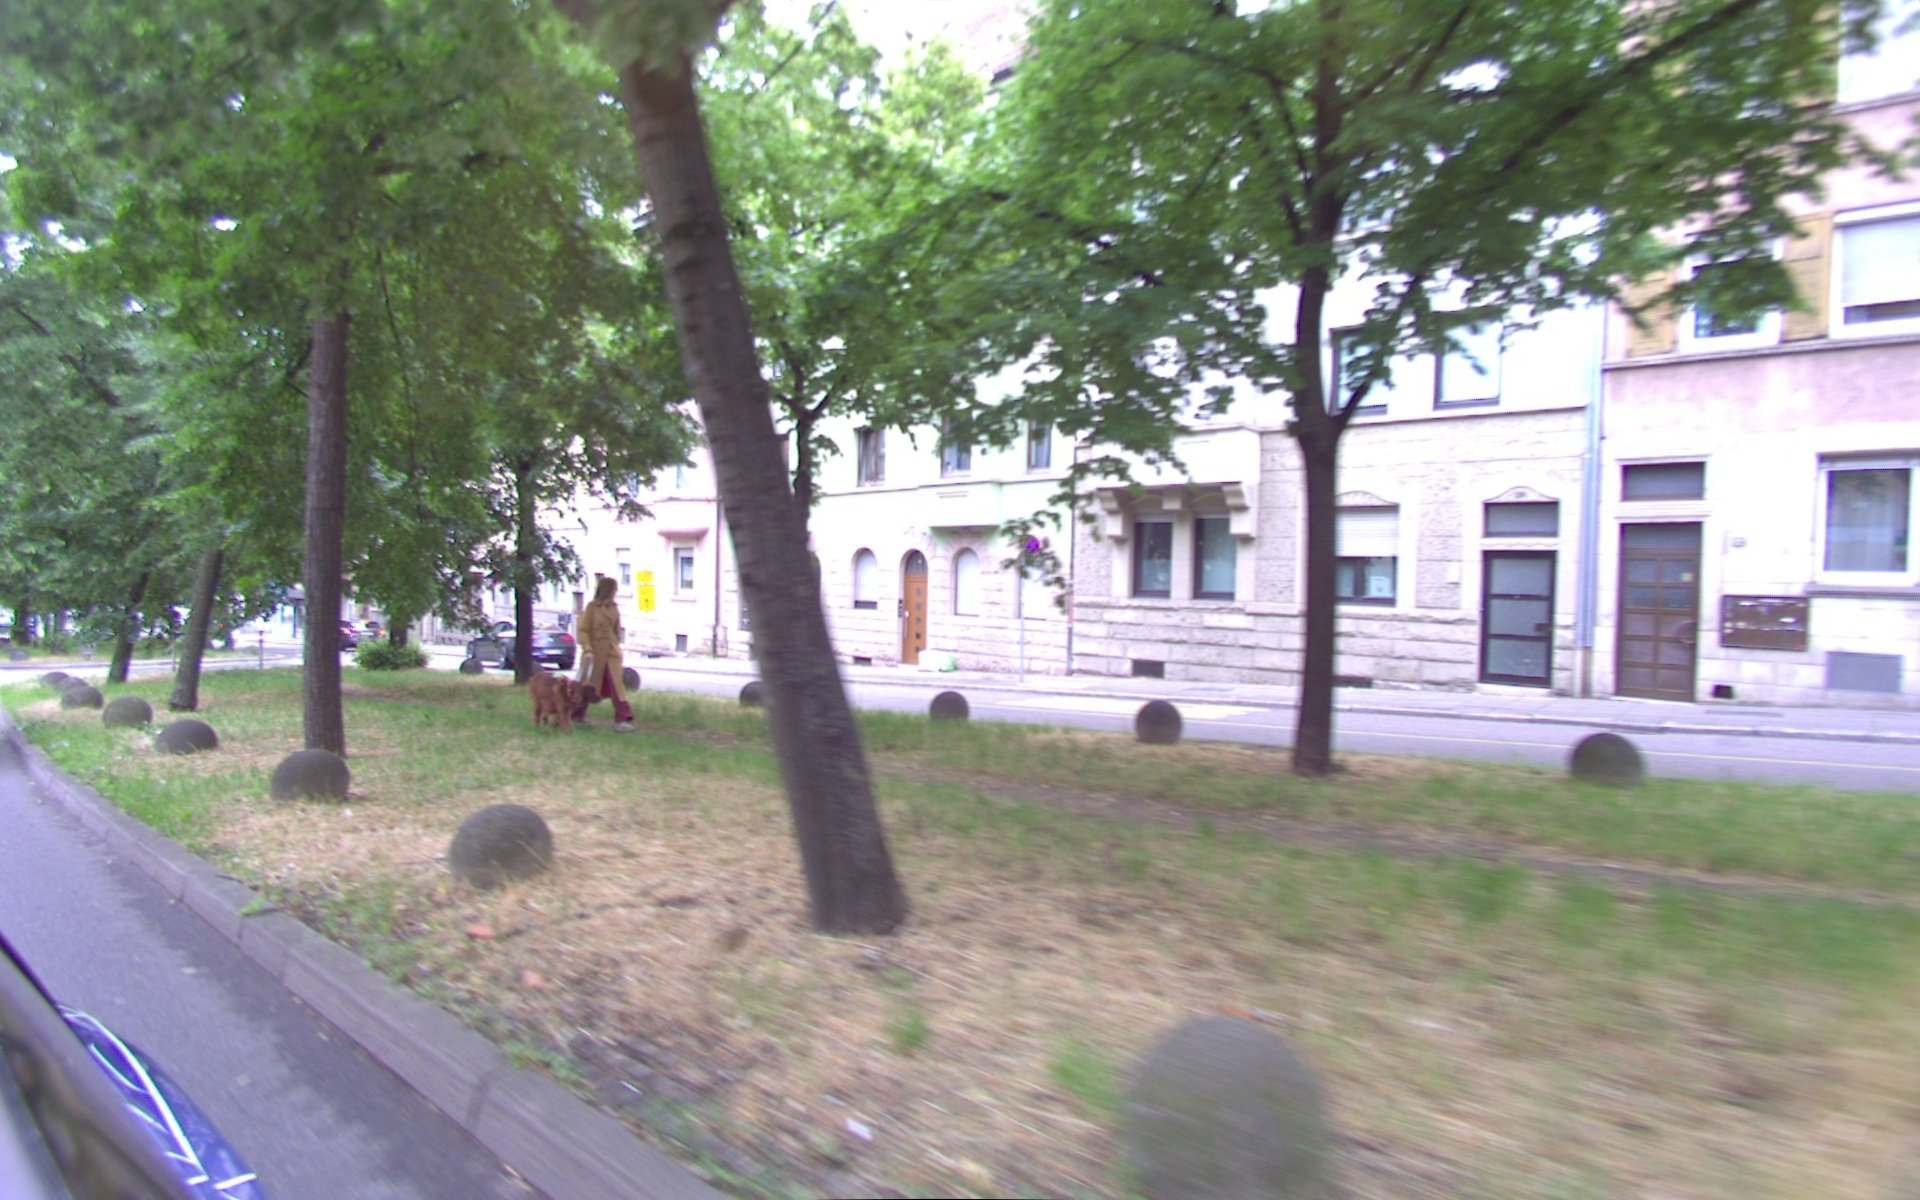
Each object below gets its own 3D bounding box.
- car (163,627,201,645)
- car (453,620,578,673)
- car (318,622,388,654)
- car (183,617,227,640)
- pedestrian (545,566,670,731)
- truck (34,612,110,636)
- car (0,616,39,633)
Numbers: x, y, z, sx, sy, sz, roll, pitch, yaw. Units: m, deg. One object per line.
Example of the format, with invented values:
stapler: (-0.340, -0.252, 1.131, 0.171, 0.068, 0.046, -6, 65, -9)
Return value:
car: (-61.341, 2.820, 79.786, 4.293, 1.417, 1.651, -2, -2, 42)
car: (-12.685, 1.320, 28.735, 1.738, 1.393, 4.671, 2, -3, -44)
car: (-28.030, 1.774, 46.674, 1.689, 1.393, 4.671, 2, -3, -44)
car: (-55.737, 2.103, 74.686, 4.680, 1.649, 1.795, 0, -2, 44)
pedestrian: (-3.947, 0.521, 11.325, 1.123, 1.725, 0.824, 1, -2, 45)
truck: (-104.584, 2.796, 119.344, 2.742, 2.744, 6.434, -1, -1, 10)
car: (-103.628, 2.658, 111.290, 2.174, 1.583, 4.492, -1, 1, -23)
